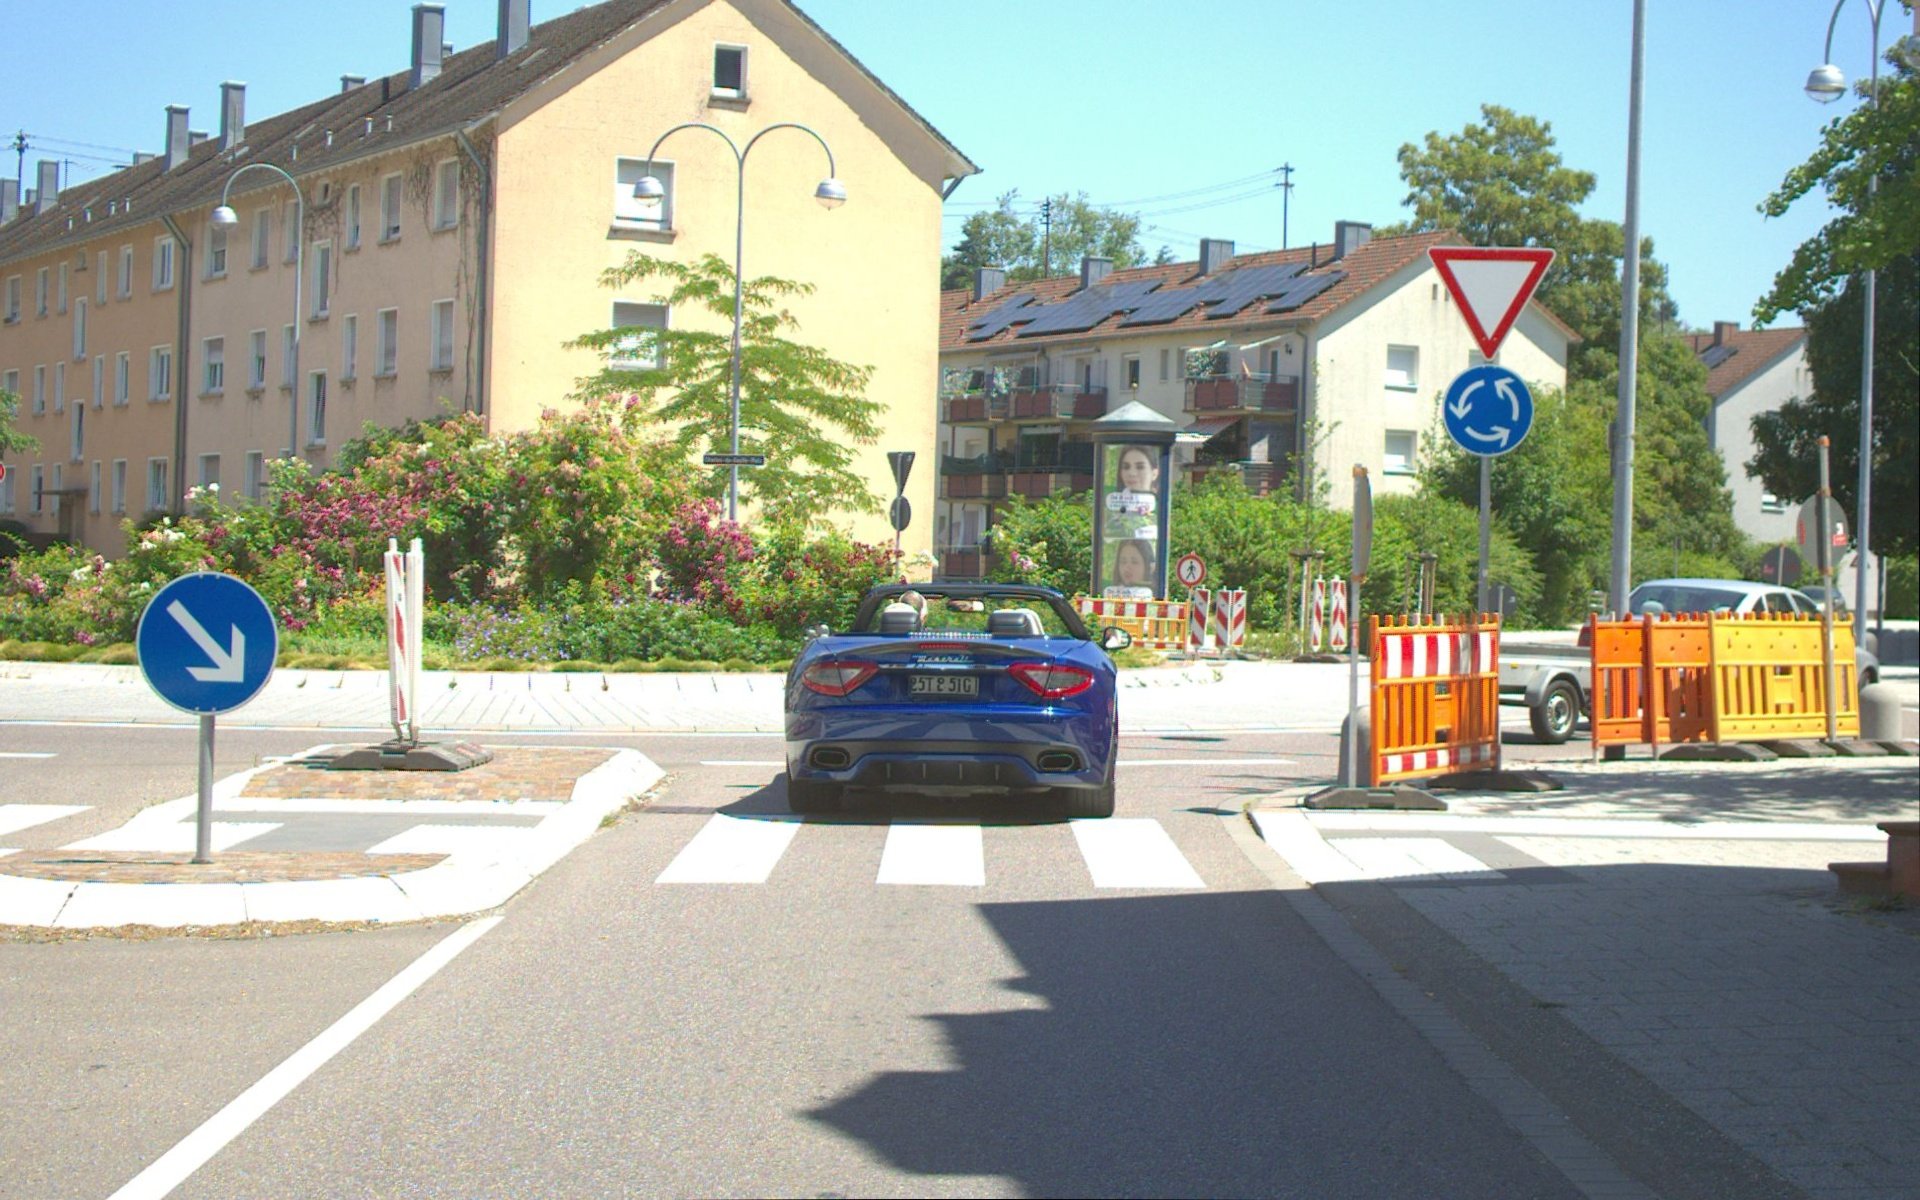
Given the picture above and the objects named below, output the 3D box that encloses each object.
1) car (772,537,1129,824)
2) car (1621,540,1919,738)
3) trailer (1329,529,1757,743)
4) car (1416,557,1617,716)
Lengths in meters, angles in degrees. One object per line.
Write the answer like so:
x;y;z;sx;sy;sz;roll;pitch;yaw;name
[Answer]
0.055;0.465;21.022;1.871;1.525;4.506;1;-1;3;car
8.400;0.372;32.435;4.115;1.741;1.787;1;1;-33;car
4.985;0.299;29.360;3.187;1.711;1.757;1;1;-31;trailer
5.281;0.309;32.974;1.739;1.431;3.710;0;1;7;car
